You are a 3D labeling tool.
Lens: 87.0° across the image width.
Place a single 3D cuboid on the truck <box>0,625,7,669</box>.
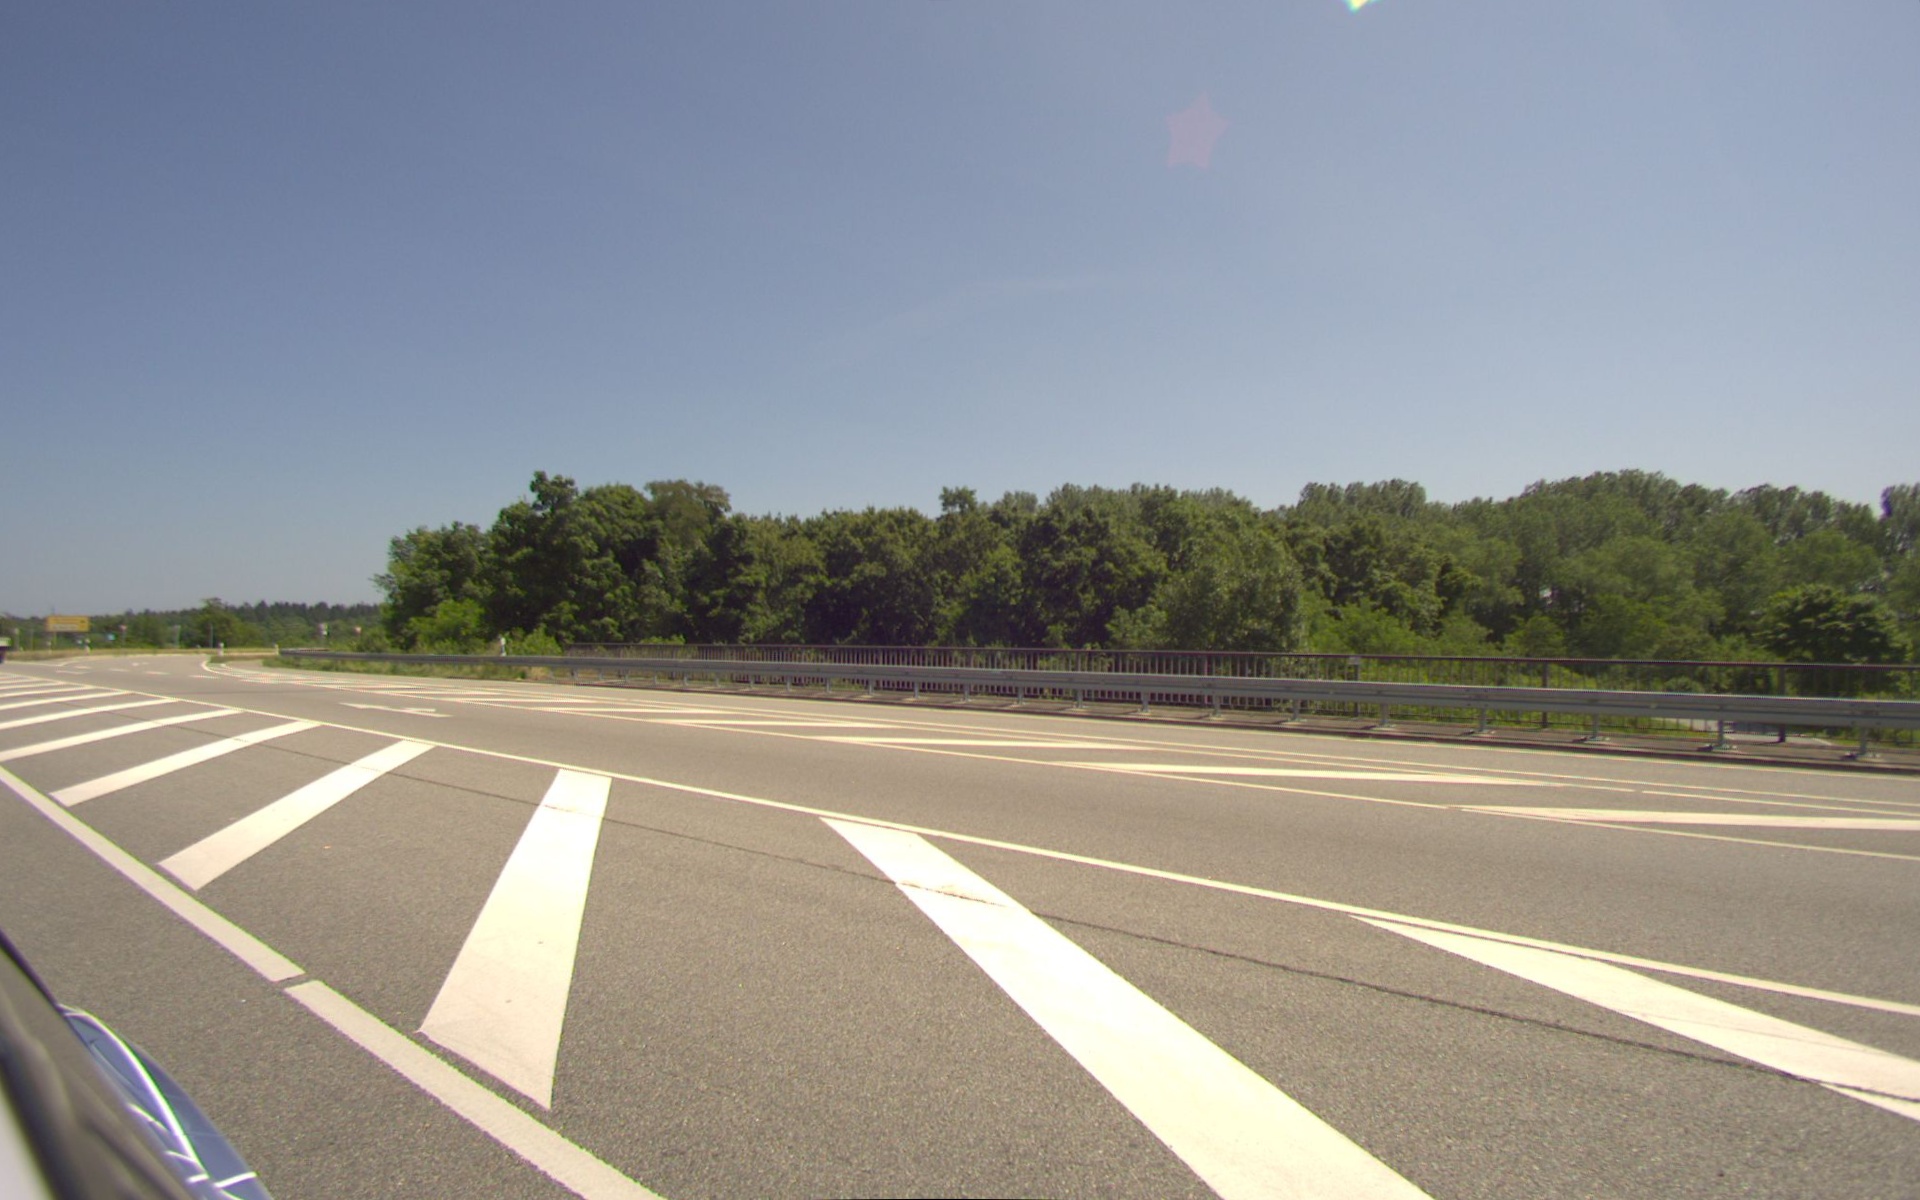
[{"bbox_3d":[-52.261,2.497,53.506,5.371,2.259,2.183,-2,-2,41],"label":"truck"}]
